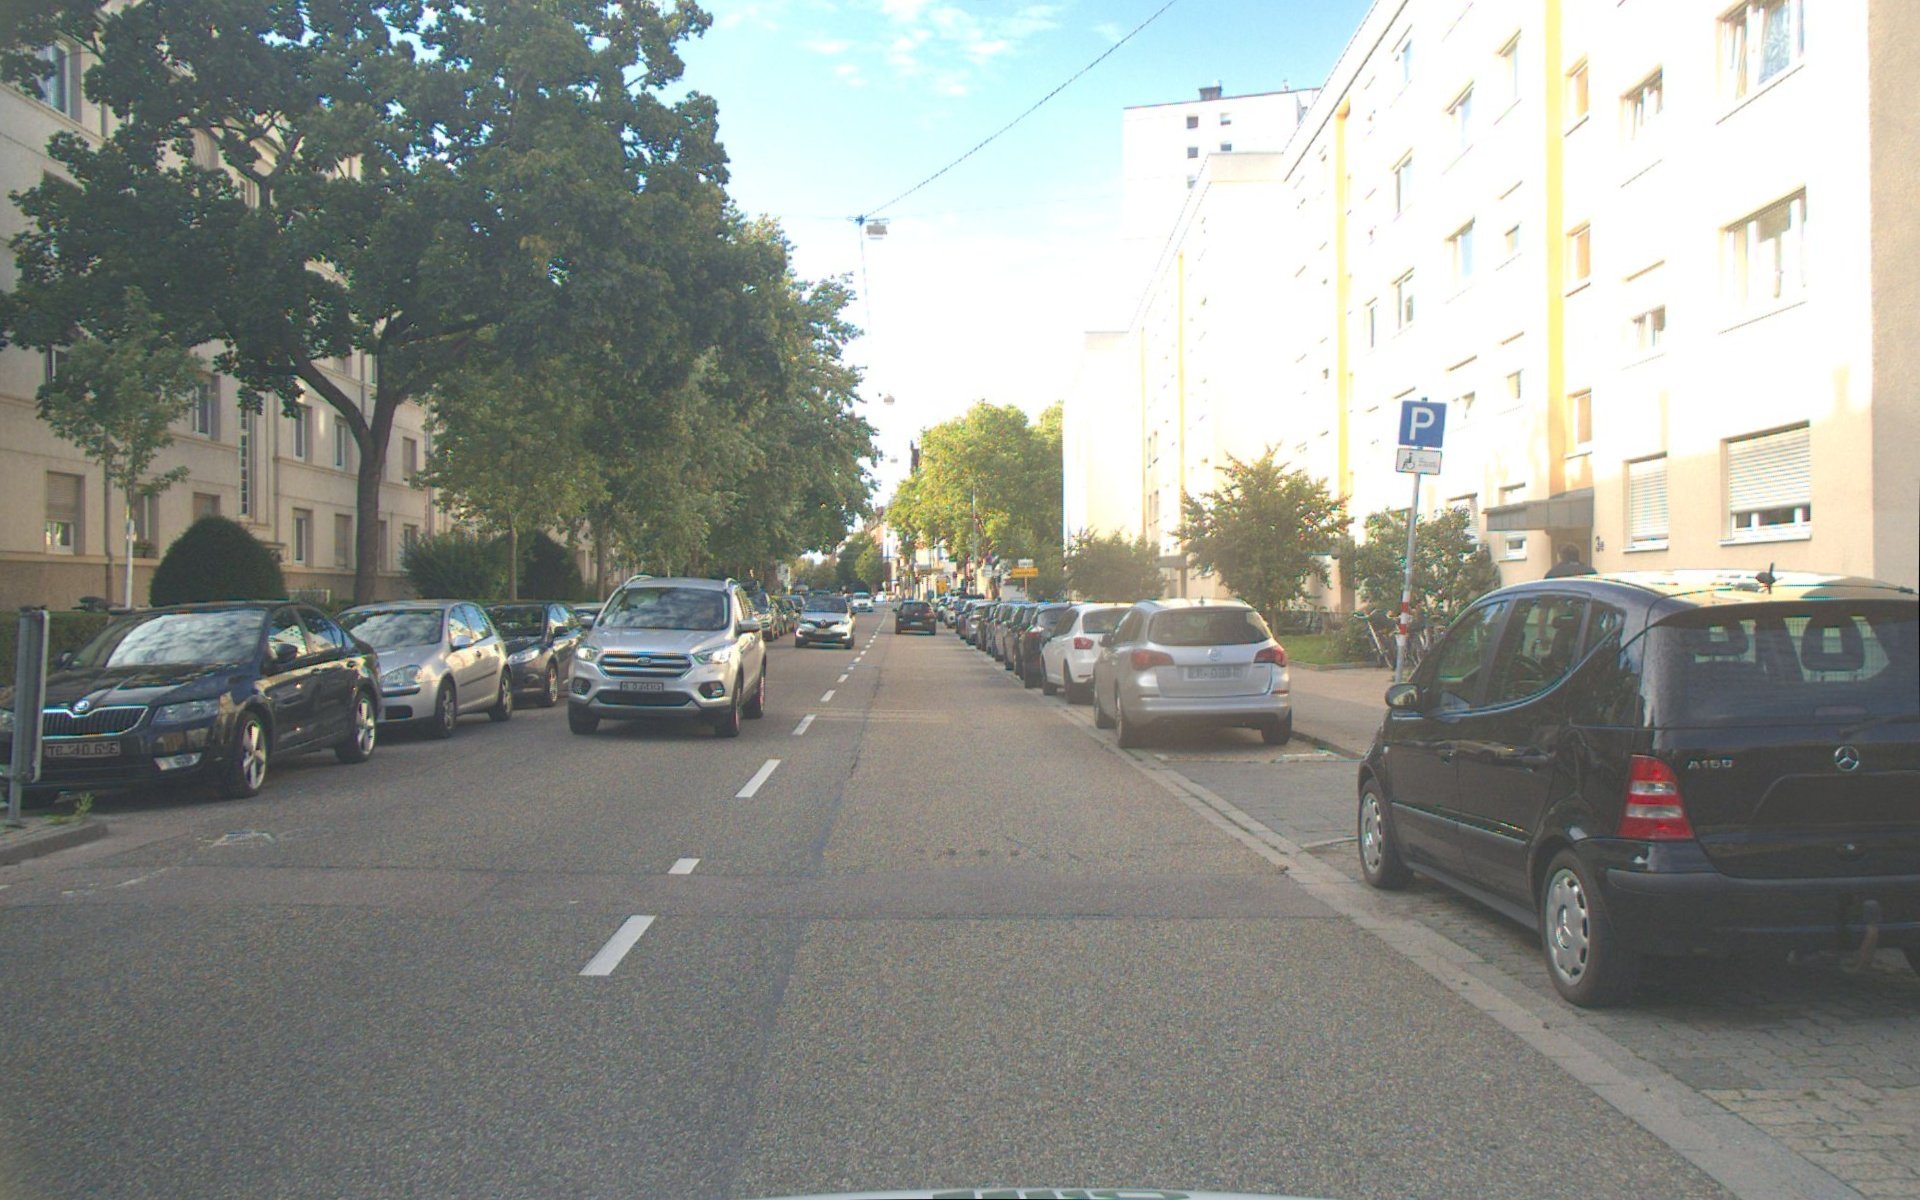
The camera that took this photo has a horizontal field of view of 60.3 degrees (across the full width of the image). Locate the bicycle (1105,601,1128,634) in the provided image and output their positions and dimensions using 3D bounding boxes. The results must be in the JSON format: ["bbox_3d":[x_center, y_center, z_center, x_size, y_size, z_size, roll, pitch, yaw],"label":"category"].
[{"bbox_3d":[6.416,0.692,67.886,0.592,1.313,2.634,-2,0,-2],"label":"bicycle"}]

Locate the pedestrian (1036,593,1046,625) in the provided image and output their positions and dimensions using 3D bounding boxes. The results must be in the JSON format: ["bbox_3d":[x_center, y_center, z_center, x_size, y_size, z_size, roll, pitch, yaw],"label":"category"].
[{"bbox_3d":[4.405,0.475,89.735,0.530,1.751,0.771,-1,0,3],"label":"pedestrian"}]

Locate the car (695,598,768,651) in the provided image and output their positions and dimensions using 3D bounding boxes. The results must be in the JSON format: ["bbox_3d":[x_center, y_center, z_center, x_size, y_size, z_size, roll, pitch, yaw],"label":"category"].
[{"bbox_3d":[-7.440,0.775,54.145,1.818,1.601,4.459,-2,0,-1],"label":"car"}]

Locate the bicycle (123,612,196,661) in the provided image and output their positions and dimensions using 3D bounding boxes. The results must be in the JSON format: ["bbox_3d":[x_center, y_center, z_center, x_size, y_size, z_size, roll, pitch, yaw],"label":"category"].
[{"bbox_3d":[-18.493,0.821,38.244,0.621,1.079,2.403,0,0,-3],"label":"bicycle"}]

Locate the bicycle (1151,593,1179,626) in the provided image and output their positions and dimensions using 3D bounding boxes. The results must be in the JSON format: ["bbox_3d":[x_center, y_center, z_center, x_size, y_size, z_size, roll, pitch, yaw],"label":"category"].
[{"bbox_3d":[8.421,0.381,68.014,0.712,1.313,2.634,1,0,-2],"label":"bicycle"}]

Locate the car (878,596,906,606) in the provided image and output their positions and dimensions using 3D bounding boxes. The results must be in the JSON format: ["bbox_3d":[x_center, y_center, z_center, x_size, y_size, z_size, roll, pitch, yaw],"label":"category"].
[{"bbox_3d":[-10.063,0.162,245.376,3.913,1.445,1.996,0,0,-9],"label":"car"}]

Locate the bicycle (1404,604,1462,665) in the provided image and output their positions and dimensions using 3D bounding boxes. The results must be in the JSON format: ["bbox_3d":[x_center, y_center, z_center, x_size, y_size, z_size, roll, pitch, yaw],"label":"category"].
[{"bbox_3d":[8.735,0.642,30.594,0.511,1.093,1.590,-2,-2,-2],"label":"bicycle"}]

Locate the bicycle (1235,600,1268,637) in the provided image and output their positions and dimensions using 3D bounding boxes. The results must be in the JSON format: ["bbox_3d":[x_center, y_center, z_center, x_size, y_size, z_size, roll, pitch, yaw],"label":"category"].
[{"bbox_3d":[8.637,0.540,49.081,0.491,1.048,2.068,-3,0,-2],"label":"bicycle"}]

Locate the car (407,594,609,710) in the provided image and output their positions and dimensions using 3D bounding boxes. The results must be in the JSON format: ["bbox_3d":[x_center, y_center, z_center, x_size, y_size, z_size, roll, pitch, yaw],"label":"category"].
[{"bbox_3d":[-6.470,0.681,24.206,1.818,1.512,4.682,-1,0,-2],"label":"car"}]

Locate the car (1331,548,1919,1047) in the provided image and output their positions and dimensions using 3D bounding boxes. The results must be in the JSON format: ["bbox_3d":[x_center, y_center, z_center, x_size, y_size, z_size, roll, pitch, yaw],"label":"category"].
[{"bbox_3d":[3.008,0.642,7.485,1.639,1.630,3.969,-1,0,-2],"label":"car"}]

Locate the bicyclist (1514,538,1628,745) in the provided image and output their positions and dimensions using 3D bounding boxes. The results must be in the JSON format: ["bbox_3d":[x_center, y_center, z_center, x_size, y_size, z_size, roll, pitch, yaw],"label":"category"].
[{"bbox_3d":[5.208,0.341,14.139,0.611,1.707,0.892,0,0,-3],"label":"bicyclist"}]

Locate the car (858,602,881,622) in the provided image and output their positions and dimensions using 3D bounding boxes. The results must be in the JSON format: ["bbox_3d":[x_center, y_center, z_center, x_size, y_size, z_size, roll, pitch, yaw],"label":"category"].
[{"bbox_3d":[-7.628,0.999,139.219,1.821,1.555,4.009,0,0,-1],"label":"car"}]

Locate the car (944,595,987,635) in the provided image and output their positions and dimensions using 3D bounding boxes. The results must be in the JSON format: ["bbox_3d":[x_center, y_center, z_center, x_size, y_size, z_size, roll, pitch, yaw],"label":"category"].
[{"bbox_3d":[0.209,0.661,74.098,1.694,1.678,4.114,-1,0,-3],"label":"car"}]

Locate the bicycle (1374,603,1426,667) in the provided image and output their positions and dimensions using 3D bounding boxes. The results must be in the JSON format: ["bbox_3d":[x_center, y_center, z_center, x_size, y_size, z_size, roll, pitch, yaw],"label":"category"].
[{"bbox_3d":[8.181,0.653,30.787,0.436,1.156,1.590,-2,-2,-2],"label":"bicycle"}]

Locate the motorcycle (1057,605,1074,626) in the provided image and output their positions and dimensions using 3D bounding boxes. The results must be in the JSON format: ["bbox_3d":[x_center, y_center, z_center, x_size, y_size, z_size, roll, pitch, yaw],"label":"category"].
[{"bbox_3d":[5.468,0.804,85.929,0.618,1.063,2.392,-1,0,-3],"label":"motorcycle"}]

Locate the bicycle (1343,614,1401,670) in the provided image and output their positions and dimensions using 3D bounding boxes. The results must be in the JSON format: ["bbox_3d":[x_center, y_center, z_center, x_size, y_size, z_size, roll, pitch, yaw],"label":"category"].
[{"bbox_3d":[7.637,0.780,30.717,0.584,1.015,1.691,0,-2,-2],"label":"bicycle"}]

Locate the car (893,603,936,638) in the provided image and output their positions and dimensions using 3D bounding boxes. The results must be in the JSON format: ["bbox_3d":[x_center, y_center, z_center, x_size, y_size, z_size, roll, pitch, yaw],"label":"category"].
[{"bbox_3d":[-1.979,0.849,71.299,1.717,1.438,3.998,0,0,-3],"label":"car"}]

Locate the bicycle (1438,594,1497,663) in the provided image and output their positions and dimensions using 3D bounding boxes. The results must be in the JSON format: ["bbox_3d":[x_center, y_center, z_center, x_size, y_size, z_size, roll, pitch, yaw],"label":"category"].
[{"bbox_3d":[9.432,0.544,30.769,0.511,1.237,1.590,-2,-2,-2],"label":"bicycle"}]

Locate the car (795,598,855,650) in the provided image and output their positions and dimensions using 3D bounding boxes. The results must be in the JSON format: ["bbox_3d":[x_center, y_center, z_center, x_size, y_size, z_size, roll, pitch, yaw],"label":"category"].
[{"bbox_3d":[-4.147,0.726,51.169,1.705,1.528,4.007,-1,0,-3],"label":"car"}]

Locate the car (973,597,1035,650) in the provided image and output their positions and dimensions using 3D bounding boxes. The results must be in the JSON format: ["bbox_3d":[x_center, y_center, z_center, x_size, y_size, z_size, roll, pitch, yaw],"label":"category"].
[{"bbox_3d":[1.351,0.712,51.769,1.628,1.517,3.940,-2,0,-2],"label":"car"}]

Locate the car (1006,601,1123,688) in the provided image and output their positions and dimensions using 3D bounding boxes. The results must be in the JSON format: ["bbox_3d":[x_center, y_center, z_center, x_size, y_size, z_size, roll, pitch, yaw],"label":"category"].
[{"bbox_3d":[1.870,0.768,30.808,1.650,1.460,4.203,-1,0,-4],"label":"car"}]

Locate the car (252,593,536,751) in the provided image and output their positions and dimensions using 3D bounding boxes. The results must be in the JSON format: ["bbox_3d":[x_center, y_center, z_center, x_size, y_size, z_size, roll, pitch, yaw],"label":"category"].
[{"bbox_3d":[-6.241,0.713,18.786,1.784,1.512,4.367,-2,0,-2],"label":"car"}]

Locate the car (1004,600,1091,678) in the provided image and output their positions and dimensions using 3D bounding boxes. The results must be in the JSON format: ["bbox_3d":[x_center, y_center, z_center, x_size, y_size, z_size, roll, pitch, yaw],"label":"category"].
[{"bbox_3d":[1.828,0.787,35.591,1.649,1.527,3.873,-1,0,0],"label":"car"}]

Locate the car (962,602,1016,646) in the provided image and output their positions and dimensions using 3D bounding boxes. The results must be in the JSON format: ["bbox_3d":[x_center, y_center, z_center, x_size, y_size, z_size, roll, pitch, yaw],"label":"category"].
[{"bbox_3d":[0.975,0.804,58.053,1.628,1.440,4.057,-2,0,-2],"label":"car"}]

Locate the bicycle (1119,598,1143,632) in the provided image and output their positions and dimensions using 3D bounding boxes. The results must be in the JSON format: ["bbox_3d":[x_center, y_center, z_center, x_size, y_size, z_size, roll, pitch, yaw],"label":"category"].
[{"bbox_3d":[7.010,0.604,67.889,0.583,1.313,2.634,-3,0,-2],"label":"bicycle"}]

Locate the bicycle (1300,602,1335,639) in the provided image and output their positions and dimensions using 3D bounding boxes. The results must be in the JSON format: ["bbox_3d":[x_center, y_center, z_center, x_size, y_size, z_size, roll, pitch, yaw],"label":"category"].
[{"bbox_3d":[10.580,0.594,49.011,0.491,1.048,2.134,-3,0,-1],"label":"bicycle"}]

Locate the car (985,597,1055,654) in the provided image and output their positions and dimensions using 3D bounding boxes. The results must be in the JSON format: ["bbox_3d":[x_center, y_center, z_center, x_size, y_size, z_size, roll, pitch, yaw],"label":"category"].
[{"bbox_3d":[1.655,0.680,46.658,1.650,1.511,4.291,-1,0,-2],"label":"car"}]

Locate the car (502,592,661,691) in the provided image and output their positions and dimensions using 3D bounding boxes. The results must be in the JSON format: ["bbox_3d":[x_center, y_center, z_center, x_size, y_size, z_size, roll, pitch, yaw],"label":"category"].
[{"bbox_3d":[-6.651,0.673,29.588,1.818,1.511,4.796,-4,0,-2],"label":"car"}]

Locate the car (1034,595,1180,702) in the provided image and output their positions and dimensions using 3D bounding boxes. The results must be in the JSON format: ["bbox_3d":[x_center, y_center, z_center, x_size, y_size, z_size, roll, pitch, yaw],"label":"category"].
[{"bbox_3d":[2.213,0.692,25.904,1.650,1.493,4.203,-1,0,-3],"label":"car"}]

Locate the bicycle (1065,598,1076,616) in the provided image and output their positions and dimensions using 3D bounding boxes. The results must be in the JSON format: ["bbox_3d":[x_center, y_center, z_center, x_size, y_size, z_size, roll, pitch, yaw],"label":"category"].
[{"bbox_3d":[7.032,0.458,105.340,0.518,1.134,2.208,-1,0,-2],"label":"bicycle"}]

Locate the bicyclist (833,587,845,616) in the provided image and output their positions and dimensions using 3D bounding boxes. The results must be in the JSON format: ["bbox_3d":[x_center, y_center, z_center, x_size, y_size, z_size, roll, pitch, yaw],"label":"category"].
[{"bbox_3d":[-7.038,0.095,96.254,0.628,1.629,0.989,-1,0,-2],"label":"bicyclist"}]

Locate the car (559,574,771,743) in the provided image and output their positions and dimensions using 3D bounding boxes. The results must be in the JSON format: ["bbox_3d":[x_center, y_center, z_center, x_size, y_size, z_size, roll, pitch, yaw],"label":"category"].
[{"bbox_3d":[-3.235,0.593,18.900,1.792,1.698,4.083,-1,0,-2],"label":"car"}]

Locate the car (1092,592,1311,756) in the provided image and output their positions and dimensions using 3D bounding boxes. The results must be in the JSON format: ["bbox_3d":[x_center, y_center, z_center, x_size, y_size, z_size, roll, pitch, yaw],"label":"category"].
[{"bbox_3d":[2.504,0.708,18.141,1.727,1.550,4.329,-1,0,0],"label":"car"}]

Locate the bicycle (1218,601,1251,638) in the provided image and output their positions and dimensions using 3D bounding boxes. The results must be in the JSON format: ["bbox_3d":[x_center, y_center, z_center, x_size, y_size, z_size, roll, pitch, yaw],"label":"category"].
[{"bbox_3d":[8.126,0.559,49.064,0.491,1.048,2.094,-3,0,-2],"label":"bicycle"}]

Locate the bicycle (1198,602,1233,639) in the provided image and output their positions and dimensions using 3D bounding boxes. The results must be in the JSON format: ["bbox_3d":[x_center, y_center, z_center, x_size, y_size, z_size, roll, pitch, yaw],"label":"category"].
[{"bbox_3d":[7.548,0.588,48.934,0.581,1.048,2.118,-3,0,-2],"label":"bicycle"}]

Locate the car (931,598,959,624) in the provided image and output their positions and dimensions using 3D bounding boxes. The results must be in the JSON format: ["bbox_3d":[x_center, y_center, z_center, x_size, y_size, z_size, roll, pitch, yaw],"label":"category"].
[{"bbox_3d":[-0.939,0.687,104.822,1.655,1.555,4.237,2,0,0],"label":"car"}]

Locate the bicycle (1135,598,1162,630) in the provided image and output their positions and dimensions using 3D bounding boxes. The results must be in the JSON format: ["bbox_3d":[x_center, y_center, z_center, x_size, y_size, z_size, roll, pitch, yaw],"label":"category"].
[{"bbox_3d":[7.719,0.564,67.922,0.712,1.313,2.634,-1,0,-2],"label":"bicycle"}]

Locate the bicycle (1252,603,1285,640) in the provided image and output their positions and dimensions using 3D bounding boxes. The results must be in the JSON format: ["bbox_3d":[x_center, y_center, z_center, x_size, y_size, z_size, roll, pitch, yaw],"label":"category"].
[{"bbox_3d":[9.145,0.641,49.083,0.491,1.048,2.025,-3,0,-2],"label":"bicycle"}]

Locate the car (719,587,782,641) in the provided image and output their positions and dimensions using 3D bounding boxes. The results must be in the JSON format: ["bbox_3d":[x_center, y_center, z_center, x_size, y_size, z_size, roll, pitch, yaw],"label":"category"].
[{"bbox_3d":[-7.568,0.472,59.998,1.840,1.824,4.967,-2,0,-3],"label":"car"}]

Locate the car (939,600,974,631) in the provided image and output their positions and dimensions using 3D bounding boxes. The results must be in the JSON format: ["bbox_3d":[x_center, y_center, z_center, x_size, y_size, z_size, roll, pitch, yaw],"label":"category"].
[{"bbox_3d":[-0.210,0.760,84.373,1.693,1.514,4.640,-1,0,-1],"label":"car"}]

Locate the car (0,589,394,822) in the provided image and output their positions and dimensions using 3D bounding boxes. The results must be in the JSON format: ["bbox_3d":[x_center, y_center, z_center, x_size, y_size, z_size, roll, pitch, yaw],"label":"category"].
[{"bbox_3d":[-6.185,0.713,13.376,1.889,1.512,4.417,-2,0,-4],"label":"car"}]
